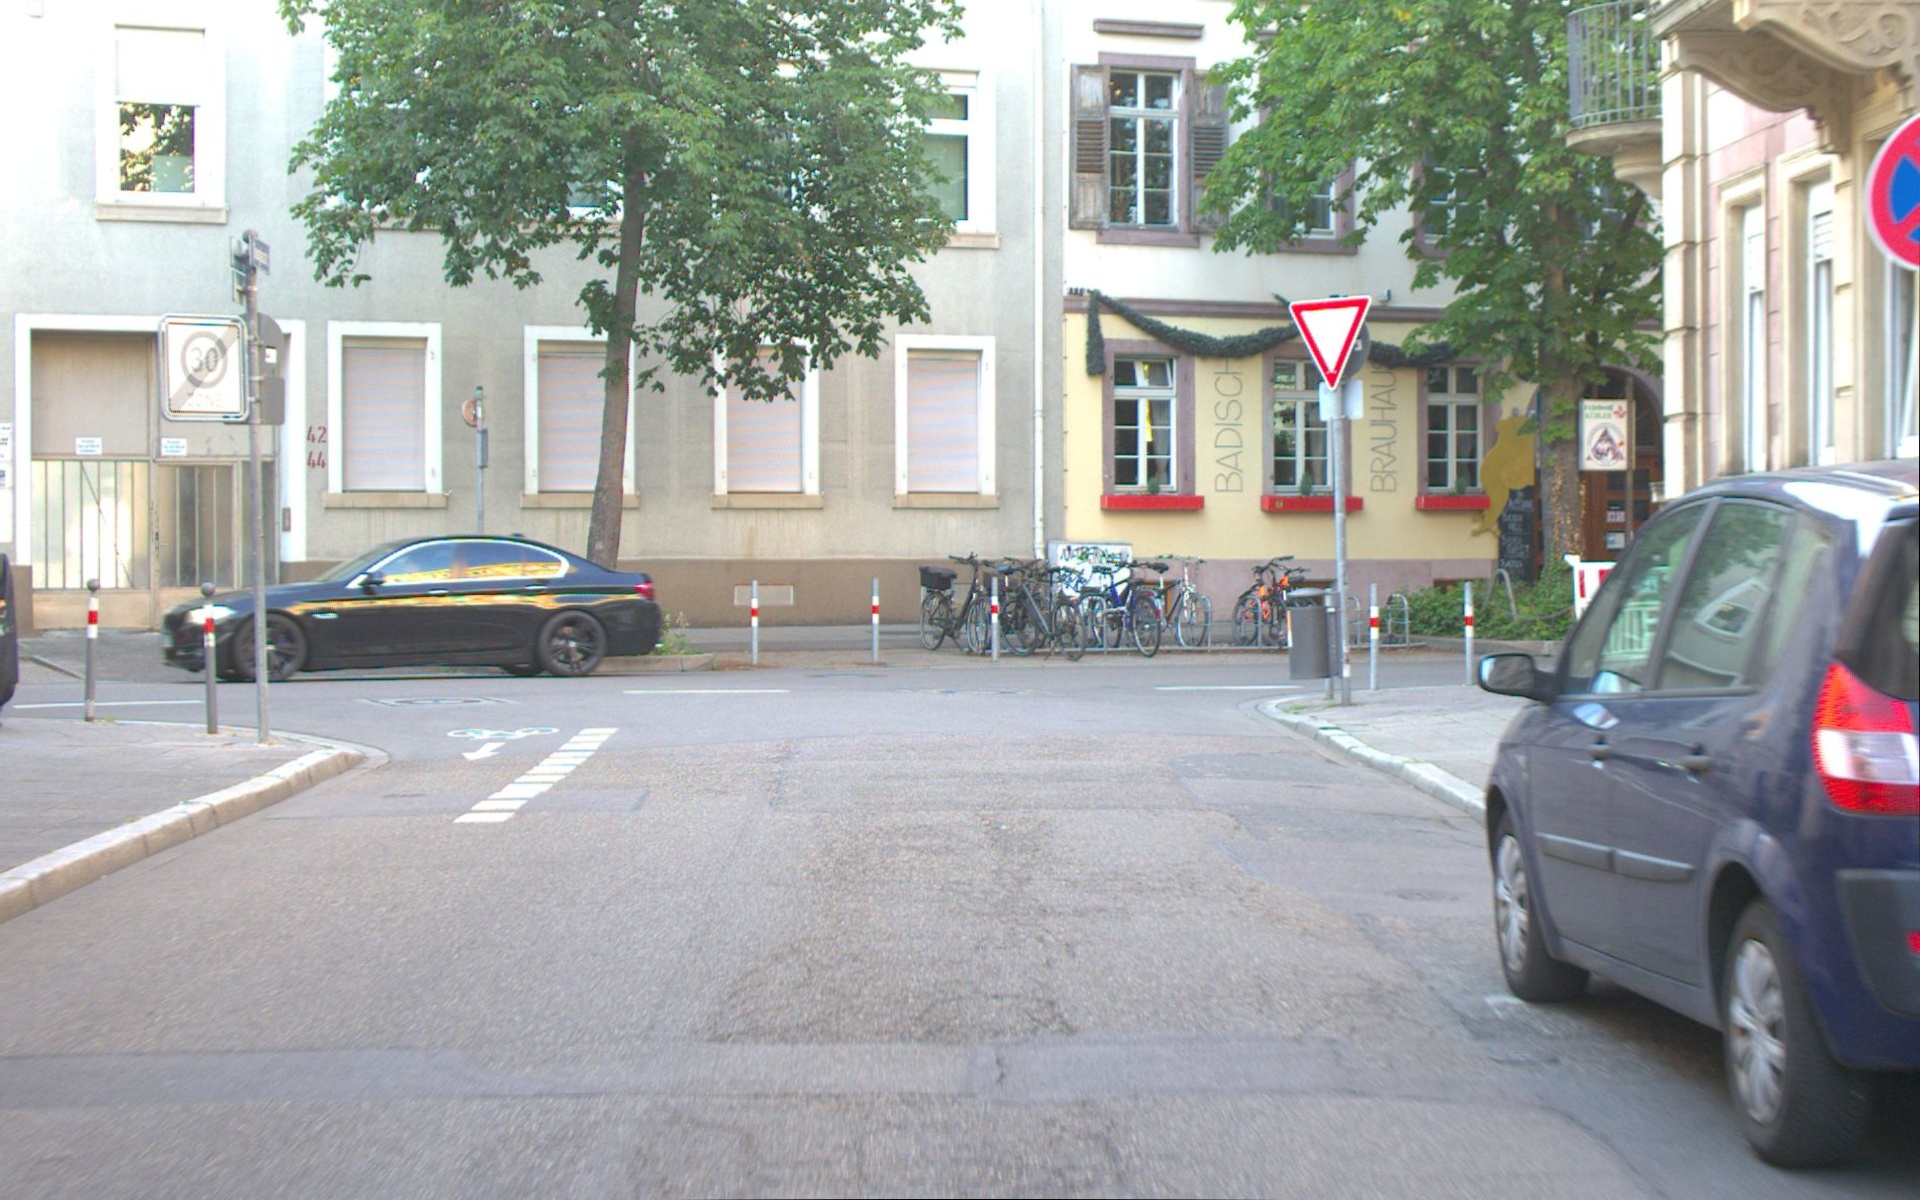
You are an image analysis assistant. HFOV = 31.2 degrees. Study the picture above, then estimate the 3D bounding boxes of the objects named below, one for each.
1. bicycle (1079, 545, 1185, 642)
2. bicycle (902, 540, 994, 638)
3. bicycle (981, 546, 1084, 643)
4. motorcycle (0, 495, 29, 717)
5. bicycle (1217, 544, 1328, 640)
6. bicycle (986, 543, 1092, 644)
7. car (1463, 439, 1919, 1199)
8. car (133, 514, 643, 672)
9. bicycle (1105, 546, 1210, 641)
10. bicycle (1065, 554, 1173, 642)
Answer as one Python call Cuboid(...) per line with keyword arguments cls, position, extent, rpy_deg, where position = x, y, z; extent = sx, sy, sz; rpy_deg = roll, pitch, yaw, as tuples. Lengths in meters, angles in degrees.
Cuboid(cls="bicycle", position=(2.093, -0.093, 42.137), extent=(0.420, 1.141, 2.043), rpy_deg=(-1, 1, -24))
Cuboid(cls="bicycle", position=(-0.158, -0.144, 41.470), extent=(0.445, 1.141, 2.043), rpy_deg=(-1, 1, -19))
Cuboid(cls="bicycle", position=(0.870, -0.084, 41.782), extent=(0.420, 1.141, 2.043), rpy_deg=(-1, 1, -24))
Cuboid(cls="motorcycle", position=(-7.520, 0.033, 24.667), extent=(0.667, 1.550, 2.161), rpy_deg=(-1, 2, -43))
Cuboid(cls="bicycle", position=(3.815, -0.113, 42.129), extent=(0.420, 1.141, 2.043), rpy_deg=(-1, 1, -24))
Cuboid(cls="bicycle", position=(0.907, -0.092, 40.073), extent=(0.445, 1.141, 2.043), rpy_deg=(-1, 1, -22))
Cuboid(cls="car", position=(2.517, 0.427, 9.132), extent=(1.689, 1.619, 4.055), rpy_deg=(0, 1, -1))
Cuboid(cls="car", position=(-5.607, -0.105, 33.713), extent=(4.651, 1.445, 1.768), rpy_deg=(-1, 1, -21))
Cuboid(cls="bicycle", position=(2.439, -0.094, 42.674), extent=(0.420, 1.141, 2.043), rpy_deg=(-1, 1, -24))
Cuboid(cls="bicycle", position=(1.883, -0.035, 41.002), extent=(0.420, 1.000, 2.043), rpy_deg=(-1, 1, -24))
